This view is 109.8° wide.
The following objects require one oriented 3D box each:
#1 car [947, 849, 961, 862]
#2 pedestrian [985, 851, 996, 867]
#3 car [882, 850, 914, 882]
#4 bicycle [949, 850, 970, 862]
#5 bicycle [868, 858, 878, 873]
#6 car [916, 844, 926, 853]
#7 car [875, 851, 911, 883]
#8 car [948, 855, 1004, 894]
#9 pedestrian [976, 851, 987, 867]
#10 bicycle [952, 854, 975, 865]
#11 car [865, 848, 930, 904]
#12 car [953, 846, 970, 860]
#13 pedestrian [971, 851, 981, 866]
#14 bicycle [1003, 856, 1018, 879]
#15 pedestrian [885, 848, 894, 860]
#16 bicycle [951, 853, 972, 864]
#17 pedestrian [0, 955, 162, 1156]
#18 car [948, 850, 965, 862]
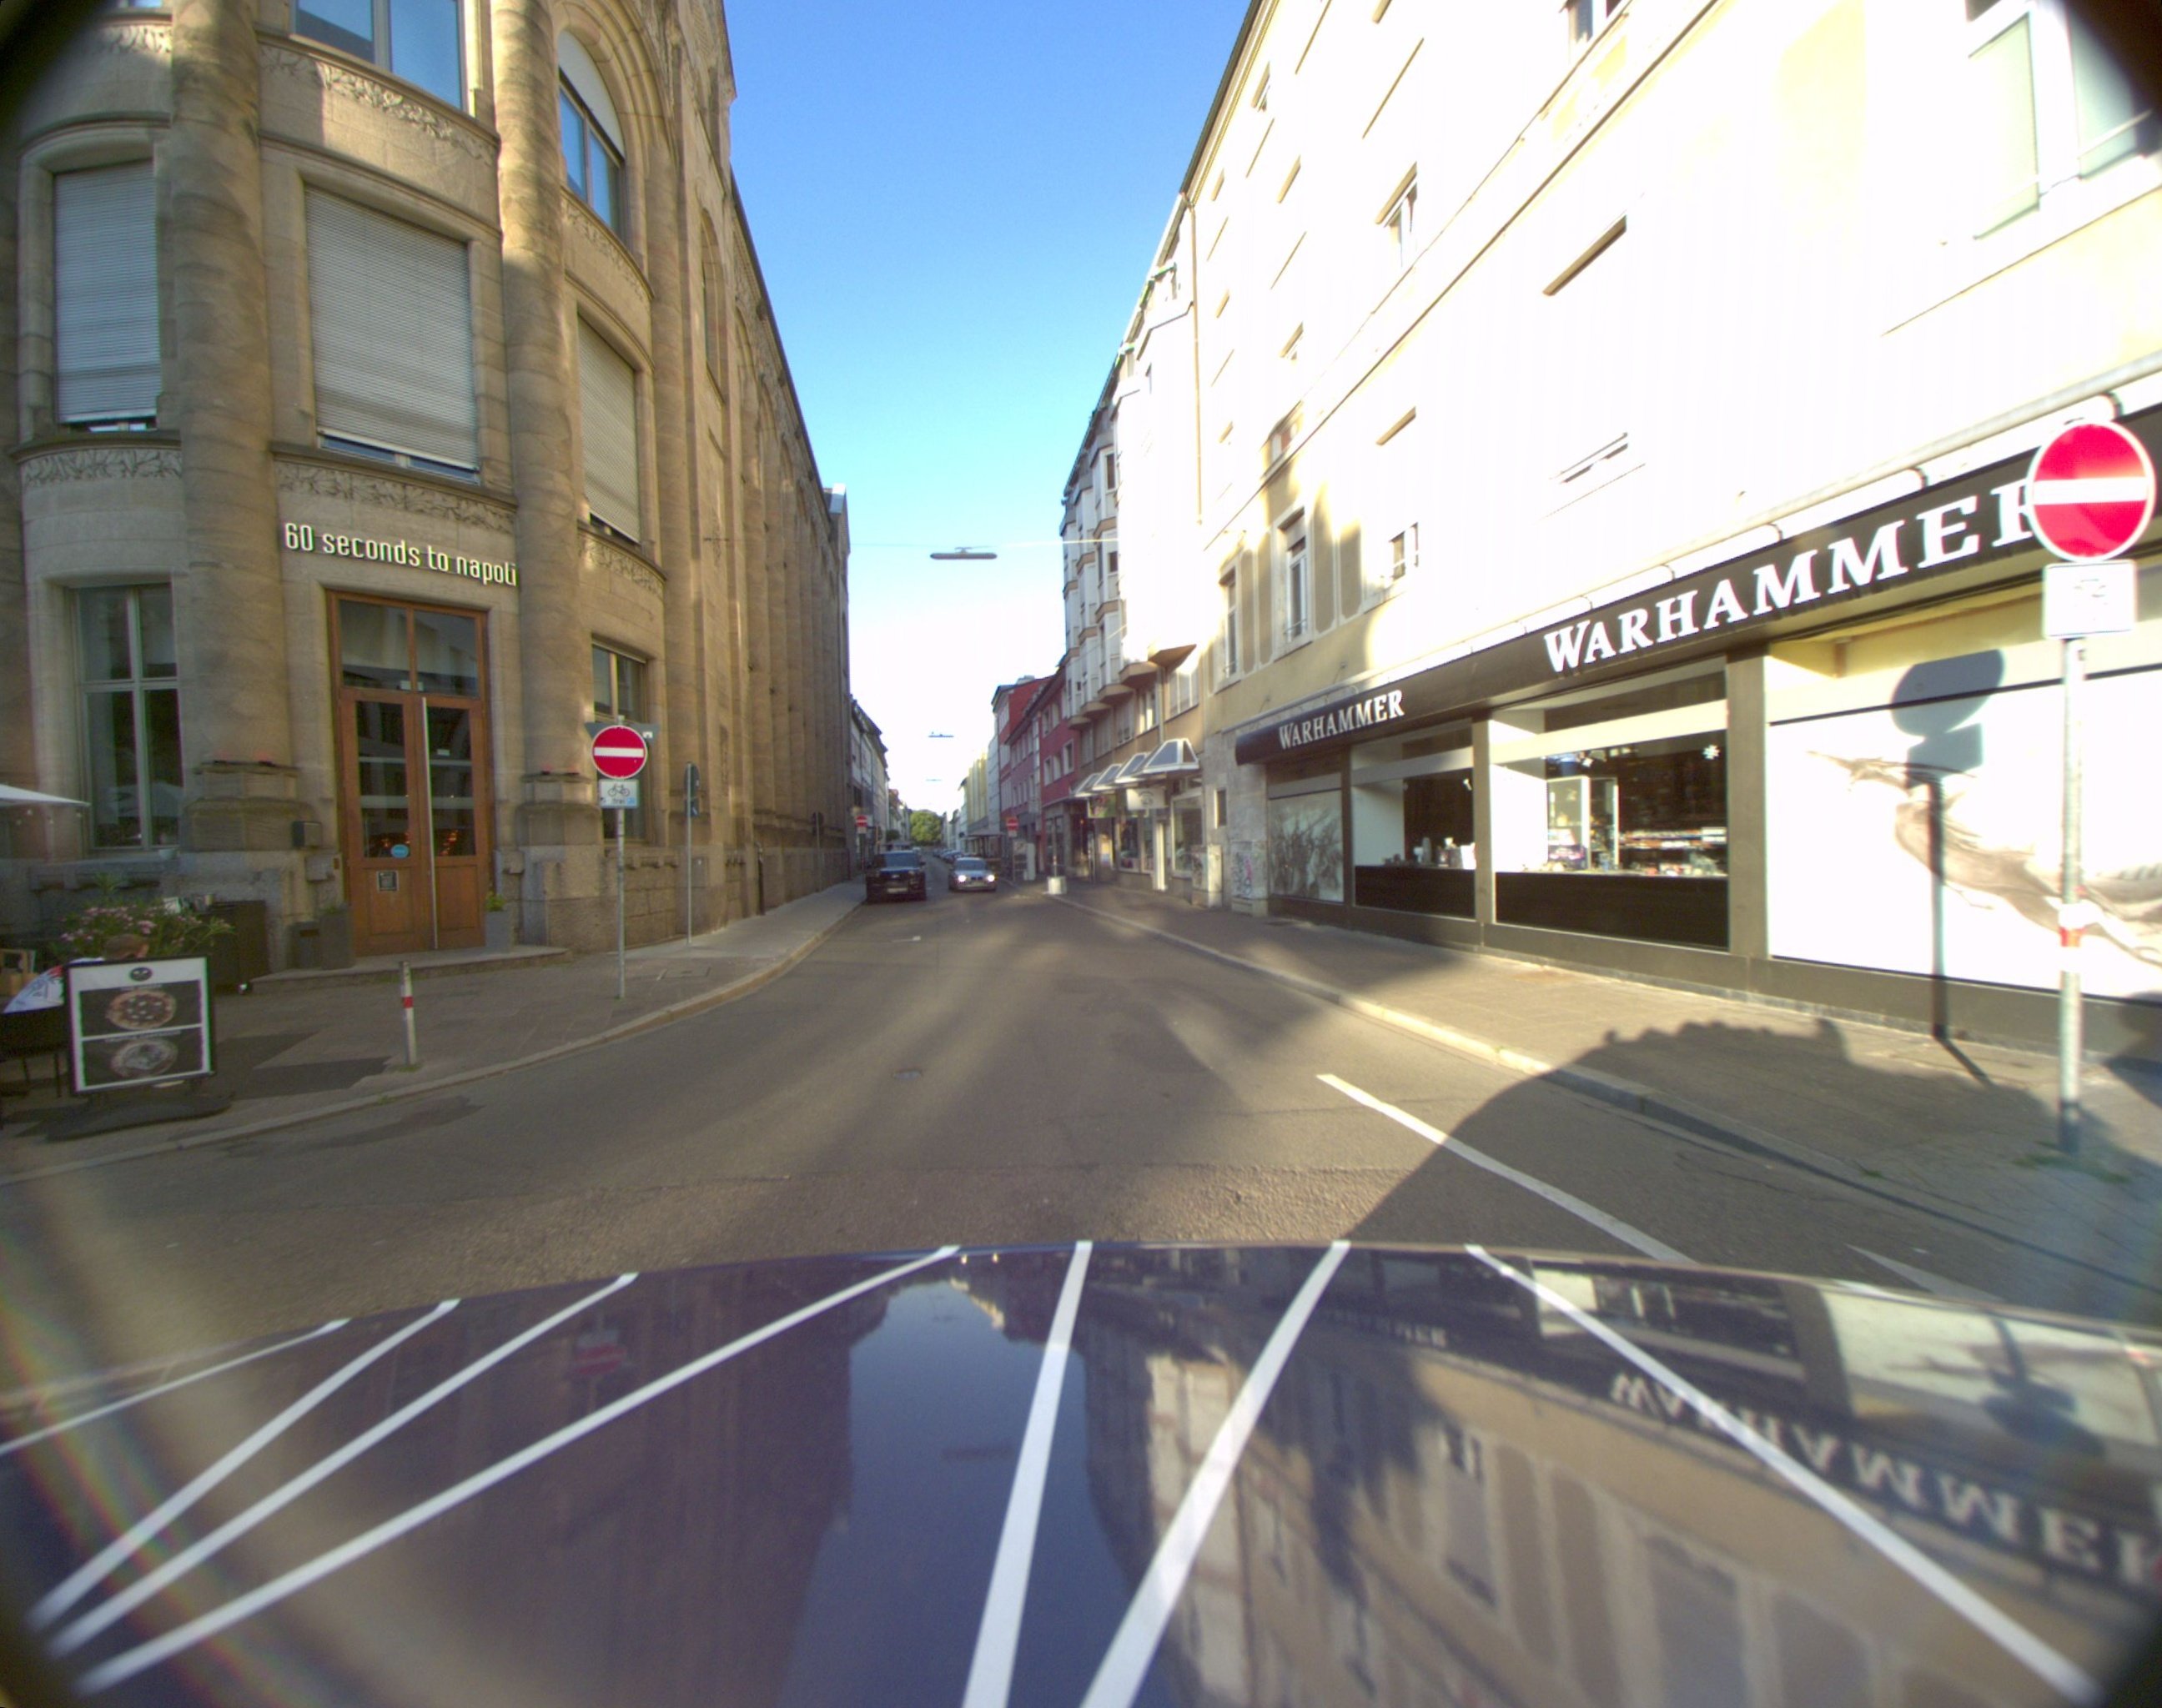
[{"bbox_3d":[-21.057,0.245,125.786,2.000,2.030,4.453,-2,1,-12],"label":"car"},{"bbox_3d":[-6.448,0.362,53.992,0.603,1.057,0.546,-3,2,-19],"label":"pedestrian"},{"bbox_3d":[-11.424,0.688,47.602,1.676,1.796,4.235,-3,1,-11],"label":"car"},{"bbox_3d":[-15.204,0.258,94.825,2.483,1.323,0.783,-2,2,-6],"label":"bicycle"},{"bbox_3d":[-15.621,0.839,57.091,0.520,1.083,1.750,2,0,-12],"label":"bicycle"},{"bbox_3d":[-37.401,-1.303,177.686,2.000,1.884,4.453,-2,1,-12],"label":"car"},{"bbox_3d":[-10.472,0.683,42.243,1.780,1.656,3.994,-2,1,-14],"label":"car"},{"bbox_3d":[-4.527,0.824,32.170,2.000,1.414,4.453,-2,1,-12],"label":"car"},{"bbox_3d":[-6.923,0.368,53.068,0.612,1.057,0.546,-3,2,-19],"label":"pedestrian"},{"bbox_3d":[-13.639,0.599,88.150,2.483,1.172,0.783,-2,2,-6],"label":"bicycle"},{"bbox_3d":[-6.577,0.711,27.432,2.001,1.773,4.928,-2,1,-13],"label":"car"},{"bbox_3d":[-15.518,-0.133,98.400,2.000,1.667,4.453,-2,1,-12],"label":"car"},{"bbox_3d":[-7.862,0.342,56.772,0.634,1.061,0.559,-3,2,-19],"label":"pedestrian"},{"bbox_3d":[-3.765,0.713,40.480,0.545,1.185,1.840,-2,1,-12],"label":"bicycle"},{"bbox_3d":[-20.056,-0.044,79.580,0.737,1.236,0.645,-3,2,-10],"label":"pedestrian"},{"bbox_3d":[-14.445,0.514,92.062,2.483,1.172,0.783,-2,2,-6],"label":"bicycle"},{"bbox_3d":[-7.232,1.358,5.289,0.607,1.182,0.821,-2,1,-1],"label":"pedestrian"},{"bbox_3d":[-17.011,0.271,103.823,2.000,1.462,4.453,-2,1,-12],"label":"car"}]
